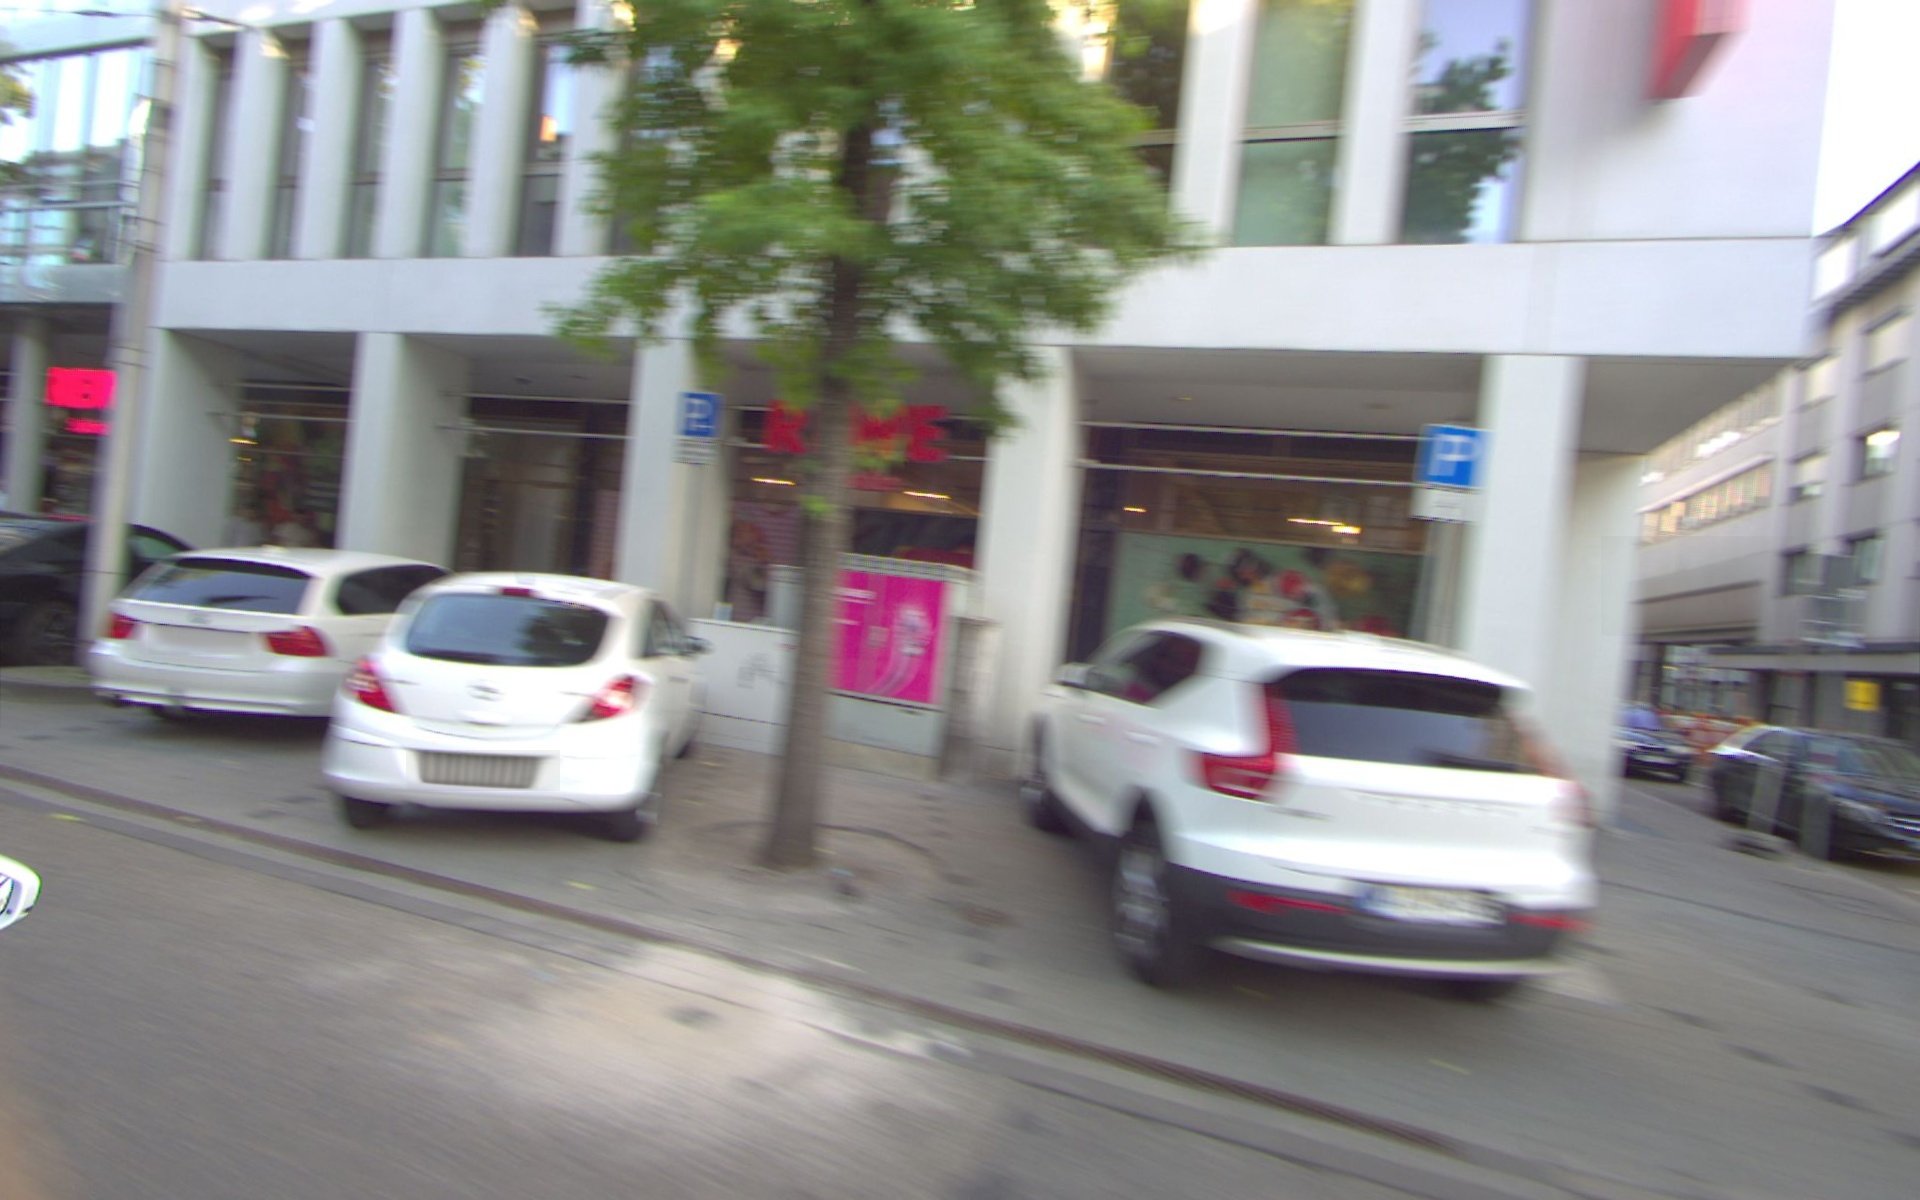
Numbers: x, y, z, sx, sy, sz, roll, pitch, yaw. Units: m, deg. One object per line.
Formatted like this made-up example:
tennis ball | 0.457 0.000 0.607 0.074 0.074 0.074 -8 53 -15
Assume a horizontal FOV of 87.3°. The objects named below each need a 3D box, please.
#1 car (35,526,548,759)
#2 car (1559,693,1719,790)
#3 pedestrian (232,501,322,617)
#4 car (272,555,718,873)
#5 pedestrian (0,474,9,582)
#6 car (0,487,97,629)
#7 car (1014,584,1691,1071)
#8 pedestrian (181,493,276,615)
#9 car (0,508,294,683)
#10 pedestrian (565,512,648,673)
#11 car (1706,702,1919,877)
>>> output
car | -5.507 0.237 9.124 1.795 1.441 4.345 6 2 -2
car | 13.965 2.830 20.952 1.747 1.493 4.152 5 -1 21
pedestrian | -10.970 -0.643 16.165 0.790 1.719 0.682 8 0 19
car | -2.829 0.532 7.131 1.765 1.521 4.058 5 2 -10
pedestrian | -14.607 -1.111 14.804 0.623 1.592 0.759 6 1 42
car | -12.027 -0.550 11.100 1.925 1.661 4.658 5 1 -16
car | 1.628 0.866 5.960 1.917 1.694 4.266 5 2 -5
pedestrian | -11.215 -0.693 15.430 0.790 1.719 0.682 8 0 19
car | -9.241 -0.149 10.352 1.919 1.441 4.345 5 2 -2
pedestrian | -4.231 -0.090 12.097 0.672 1.792 0.803 8 0 -15
car | 11.169 2.265 12.511 1.868 1.632 4.152 5 -1 21
